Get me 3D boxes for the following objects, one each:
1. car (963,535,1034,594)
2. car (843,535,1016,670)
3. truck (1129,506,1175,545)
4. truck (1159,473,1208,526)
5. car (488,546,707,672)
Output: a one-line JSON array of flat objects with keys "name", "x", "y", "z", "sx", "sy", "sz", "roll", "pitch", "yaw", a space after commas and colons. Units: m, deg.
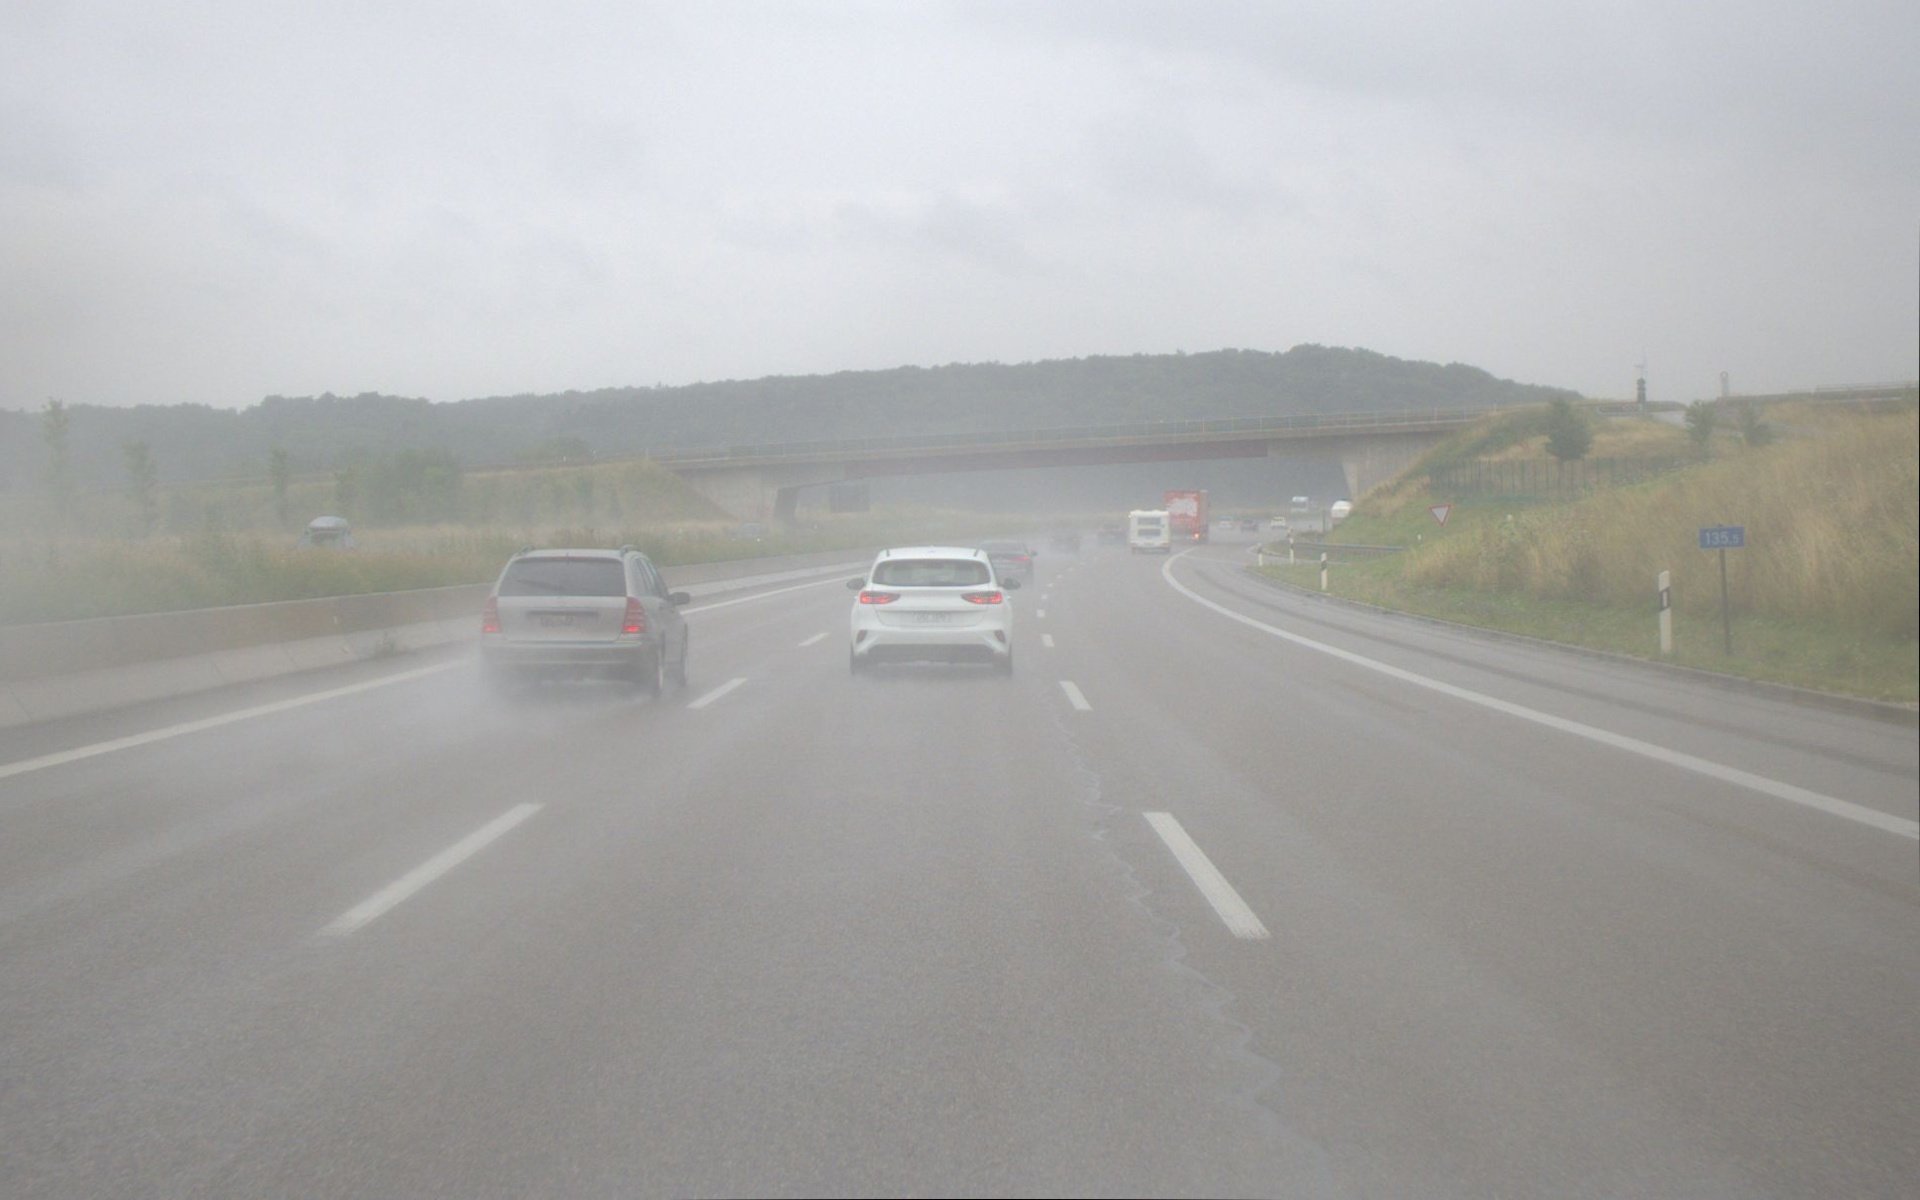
[{"name": "car", "x": 1.078, "y": -1.024, "z": 98.419, "sx": 1.993, "sy": 1.612, "sz": 4.000, "roll": 0, "pitch": 2, "yaw": 0}, {"name": "car", "x": -0.395, "y": -0.006, "z": 39.090, "sx": 1.867, "sy": 1.458, "sz": 4.000, "roll": 0, "pitch": 1, "yaw": -2}, {"name": "truck", "x": 11.073, "y": -4.291, "z": 198.220, "sx": 2.408, "sy": 2.244, "sz": 4.692, "roll": 0, "pitch": 2, "yaw": 6}, {"name": "truck", "x": 16.634, "y": -7.508, "z": 255.740, "sx": 3.527, "sy": 3.730, "sz": 11.426, "roll": 1, "pitch": 2, "yaw": 4}, {"name": "car", "x": -3.538, "y": 0.063, "z": 34.201, "sx": 1.823, "sy": 1.152, "sz": 4.213, "roll": 1, "pitch": 0, "yaw": -1}]
